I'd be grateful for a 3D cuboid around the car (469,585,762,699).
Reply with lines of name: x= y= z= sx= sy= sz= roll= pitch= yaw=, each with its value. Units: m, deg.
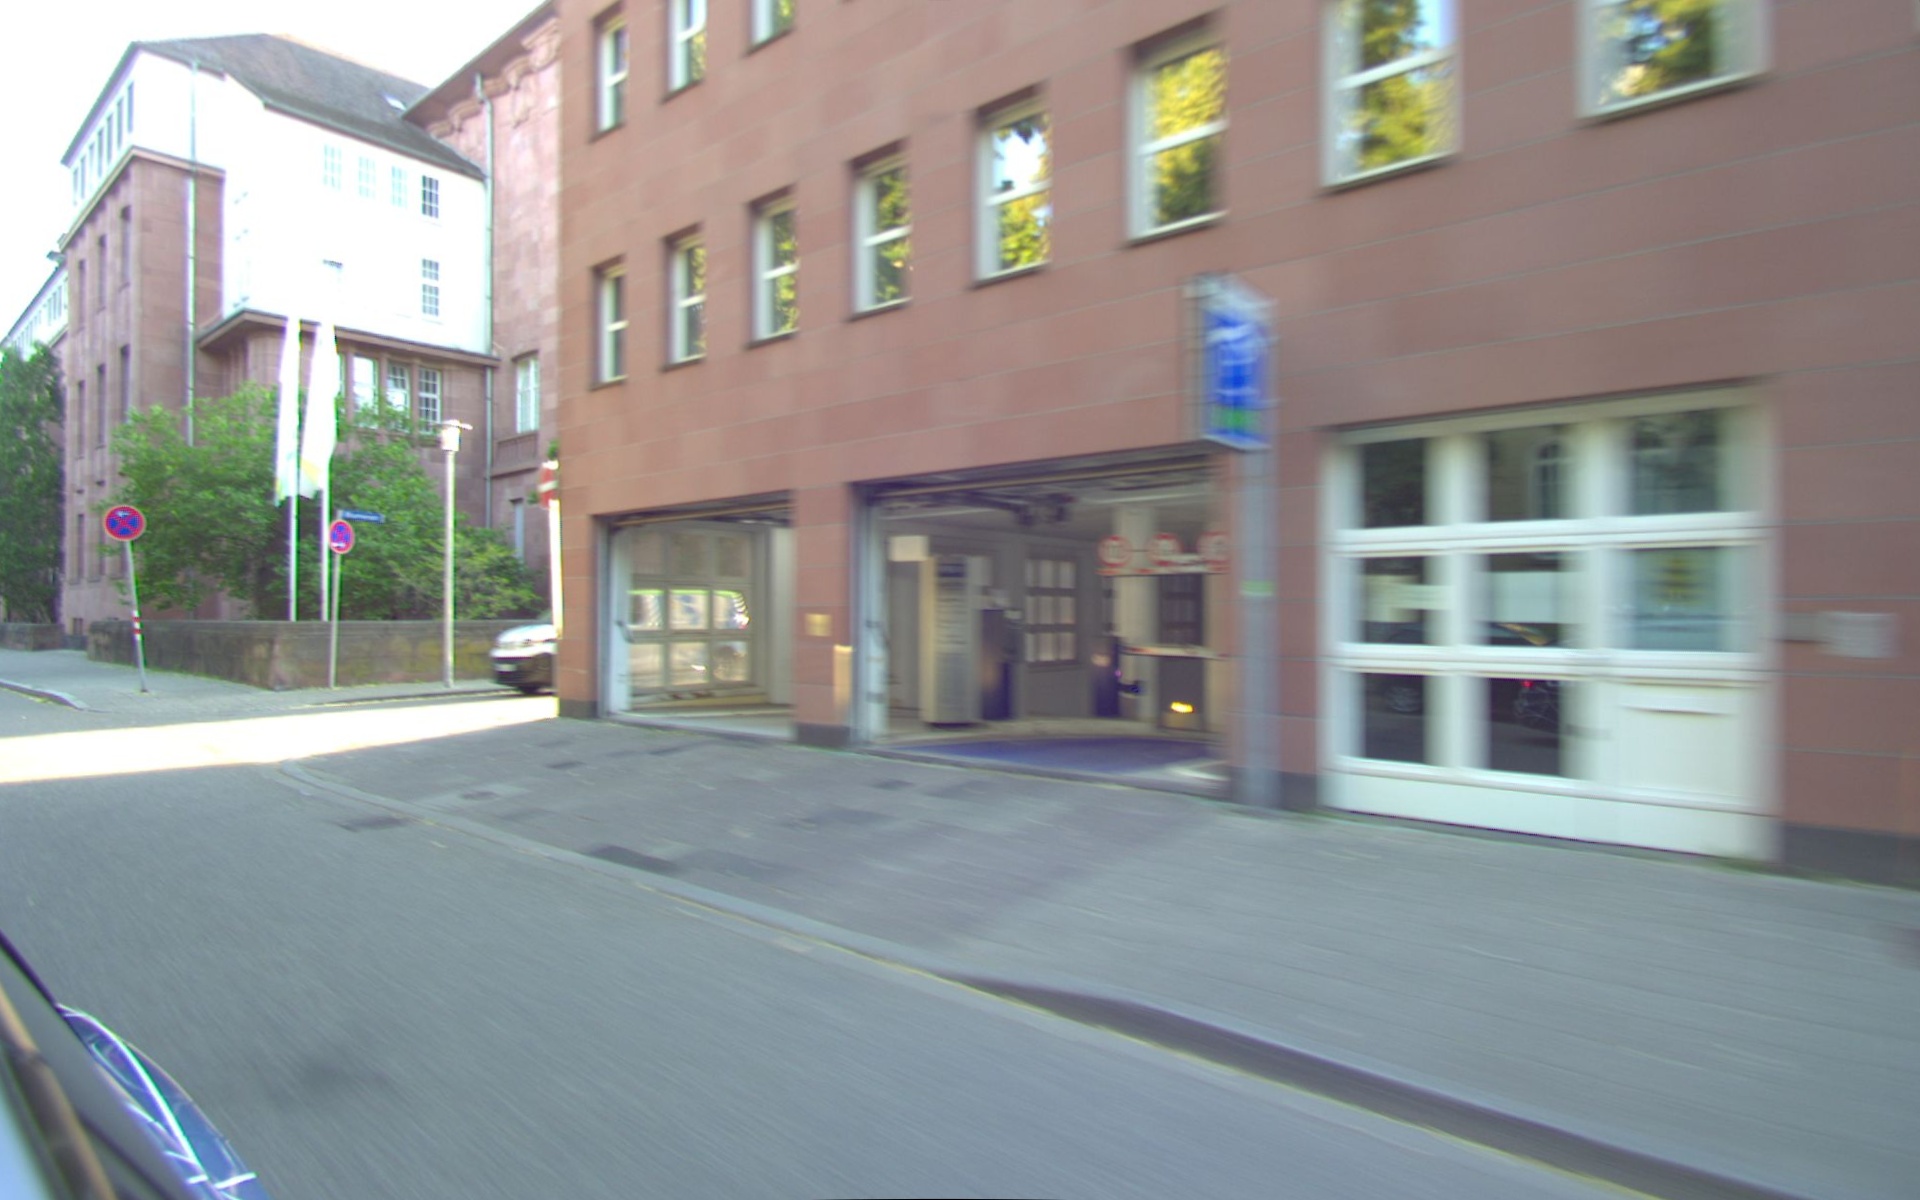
car: x=-6.436 y=0.767 z=19.436 sx=1.998 sy=1.889 sz=5.041 roll=-3 pitch=-3 yaw=39
